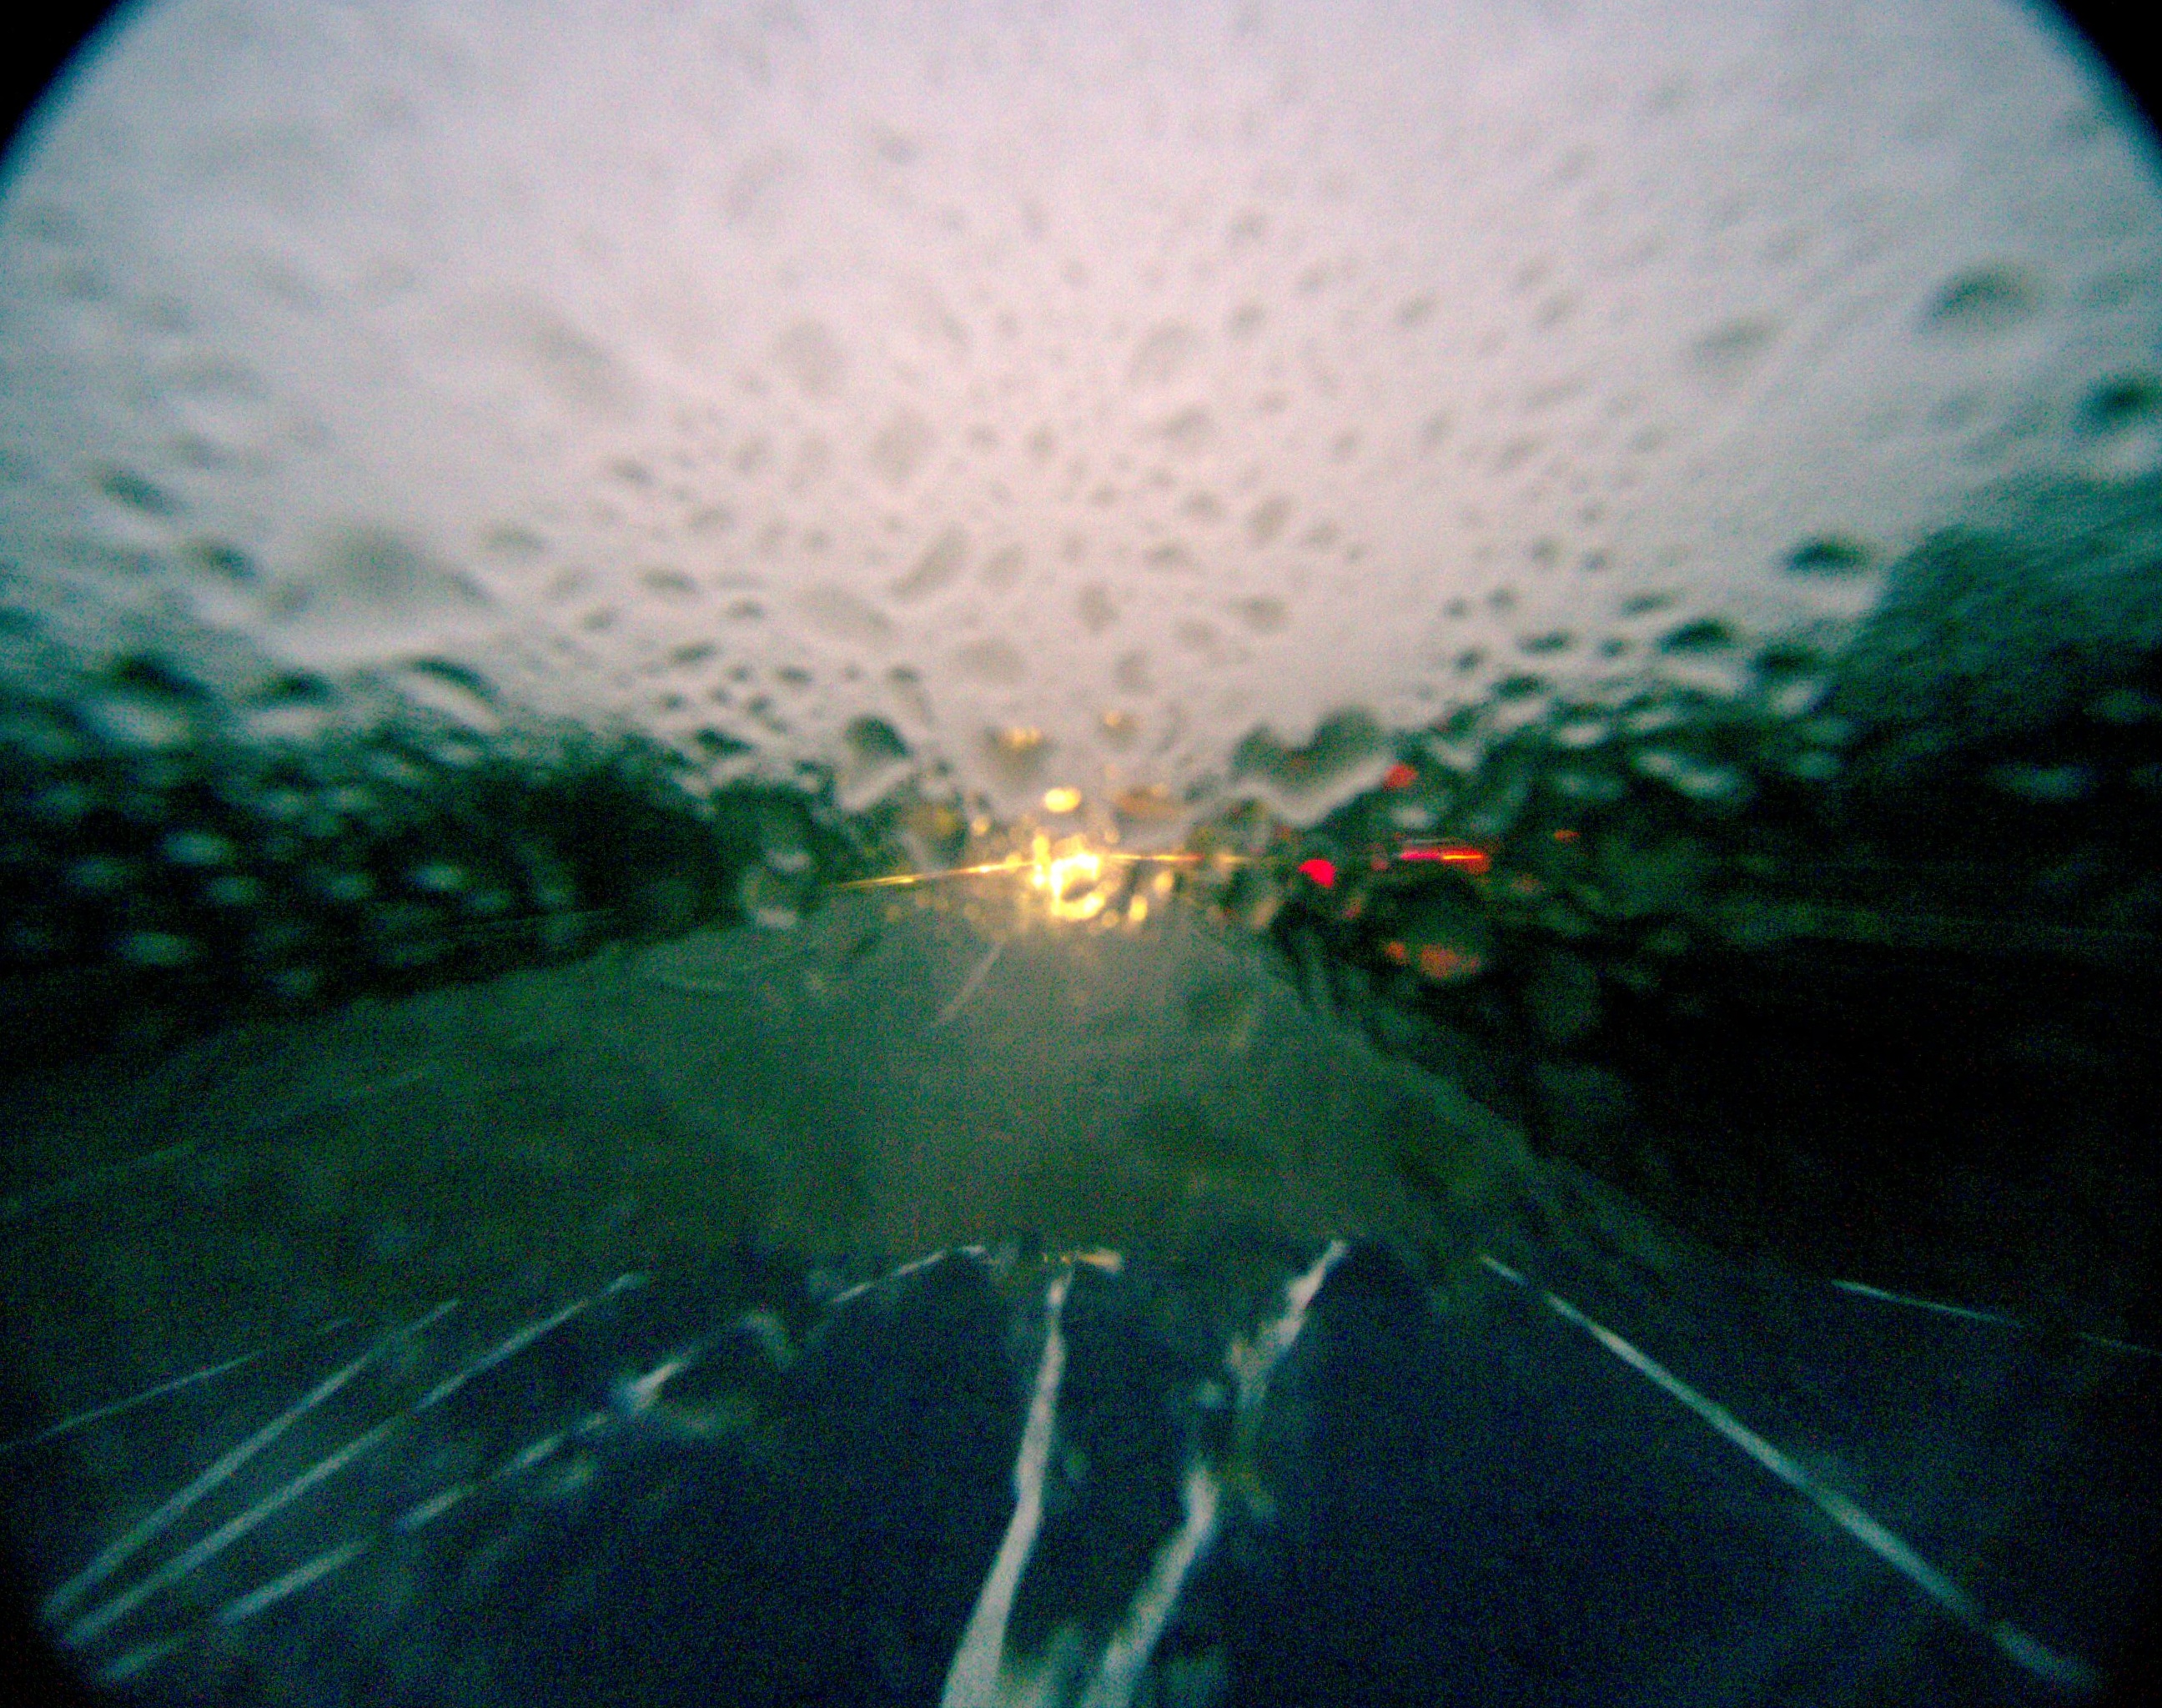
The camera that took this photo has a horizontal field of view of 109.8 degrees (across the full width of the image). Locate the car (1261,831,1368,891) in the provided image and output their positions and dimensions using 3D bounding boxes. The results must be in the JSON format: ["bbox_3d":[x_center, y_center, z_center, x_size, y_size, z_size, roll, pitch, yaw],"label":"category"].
[{"bbox_3d":[7.673,0.213,25.584,1.998,1.706,5.366,-3,0,2],"label":"car"}]

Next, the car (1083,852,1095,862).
[{"bbox_3d":[1.427,0.502,134.368,1.998,1.674,4.000,-4,0,1],"label":"car"}]

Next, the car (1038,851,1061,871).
[{"bbox_3d":[-2.718,0.587,66.634,1.748,1.643,3.999,-2,1,1],"label":"car"}]

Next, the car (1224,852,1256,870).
[{"bbox_3d":[13.622,0.572,65.343,1.772,1.351,4.250,-2,1,0],"label":"car"}]

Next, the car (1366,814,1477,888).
[{"bbox_3d":[12.258,-0.123,27.716,1.998,2.398,4.678,-2,1,1],"label":"car"}]

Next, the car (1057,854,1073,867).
[{"bbox_3d":[-2.286,0.923,108.318,1.998,1.674,4.000,-4,0,1],"label":"car"}]
